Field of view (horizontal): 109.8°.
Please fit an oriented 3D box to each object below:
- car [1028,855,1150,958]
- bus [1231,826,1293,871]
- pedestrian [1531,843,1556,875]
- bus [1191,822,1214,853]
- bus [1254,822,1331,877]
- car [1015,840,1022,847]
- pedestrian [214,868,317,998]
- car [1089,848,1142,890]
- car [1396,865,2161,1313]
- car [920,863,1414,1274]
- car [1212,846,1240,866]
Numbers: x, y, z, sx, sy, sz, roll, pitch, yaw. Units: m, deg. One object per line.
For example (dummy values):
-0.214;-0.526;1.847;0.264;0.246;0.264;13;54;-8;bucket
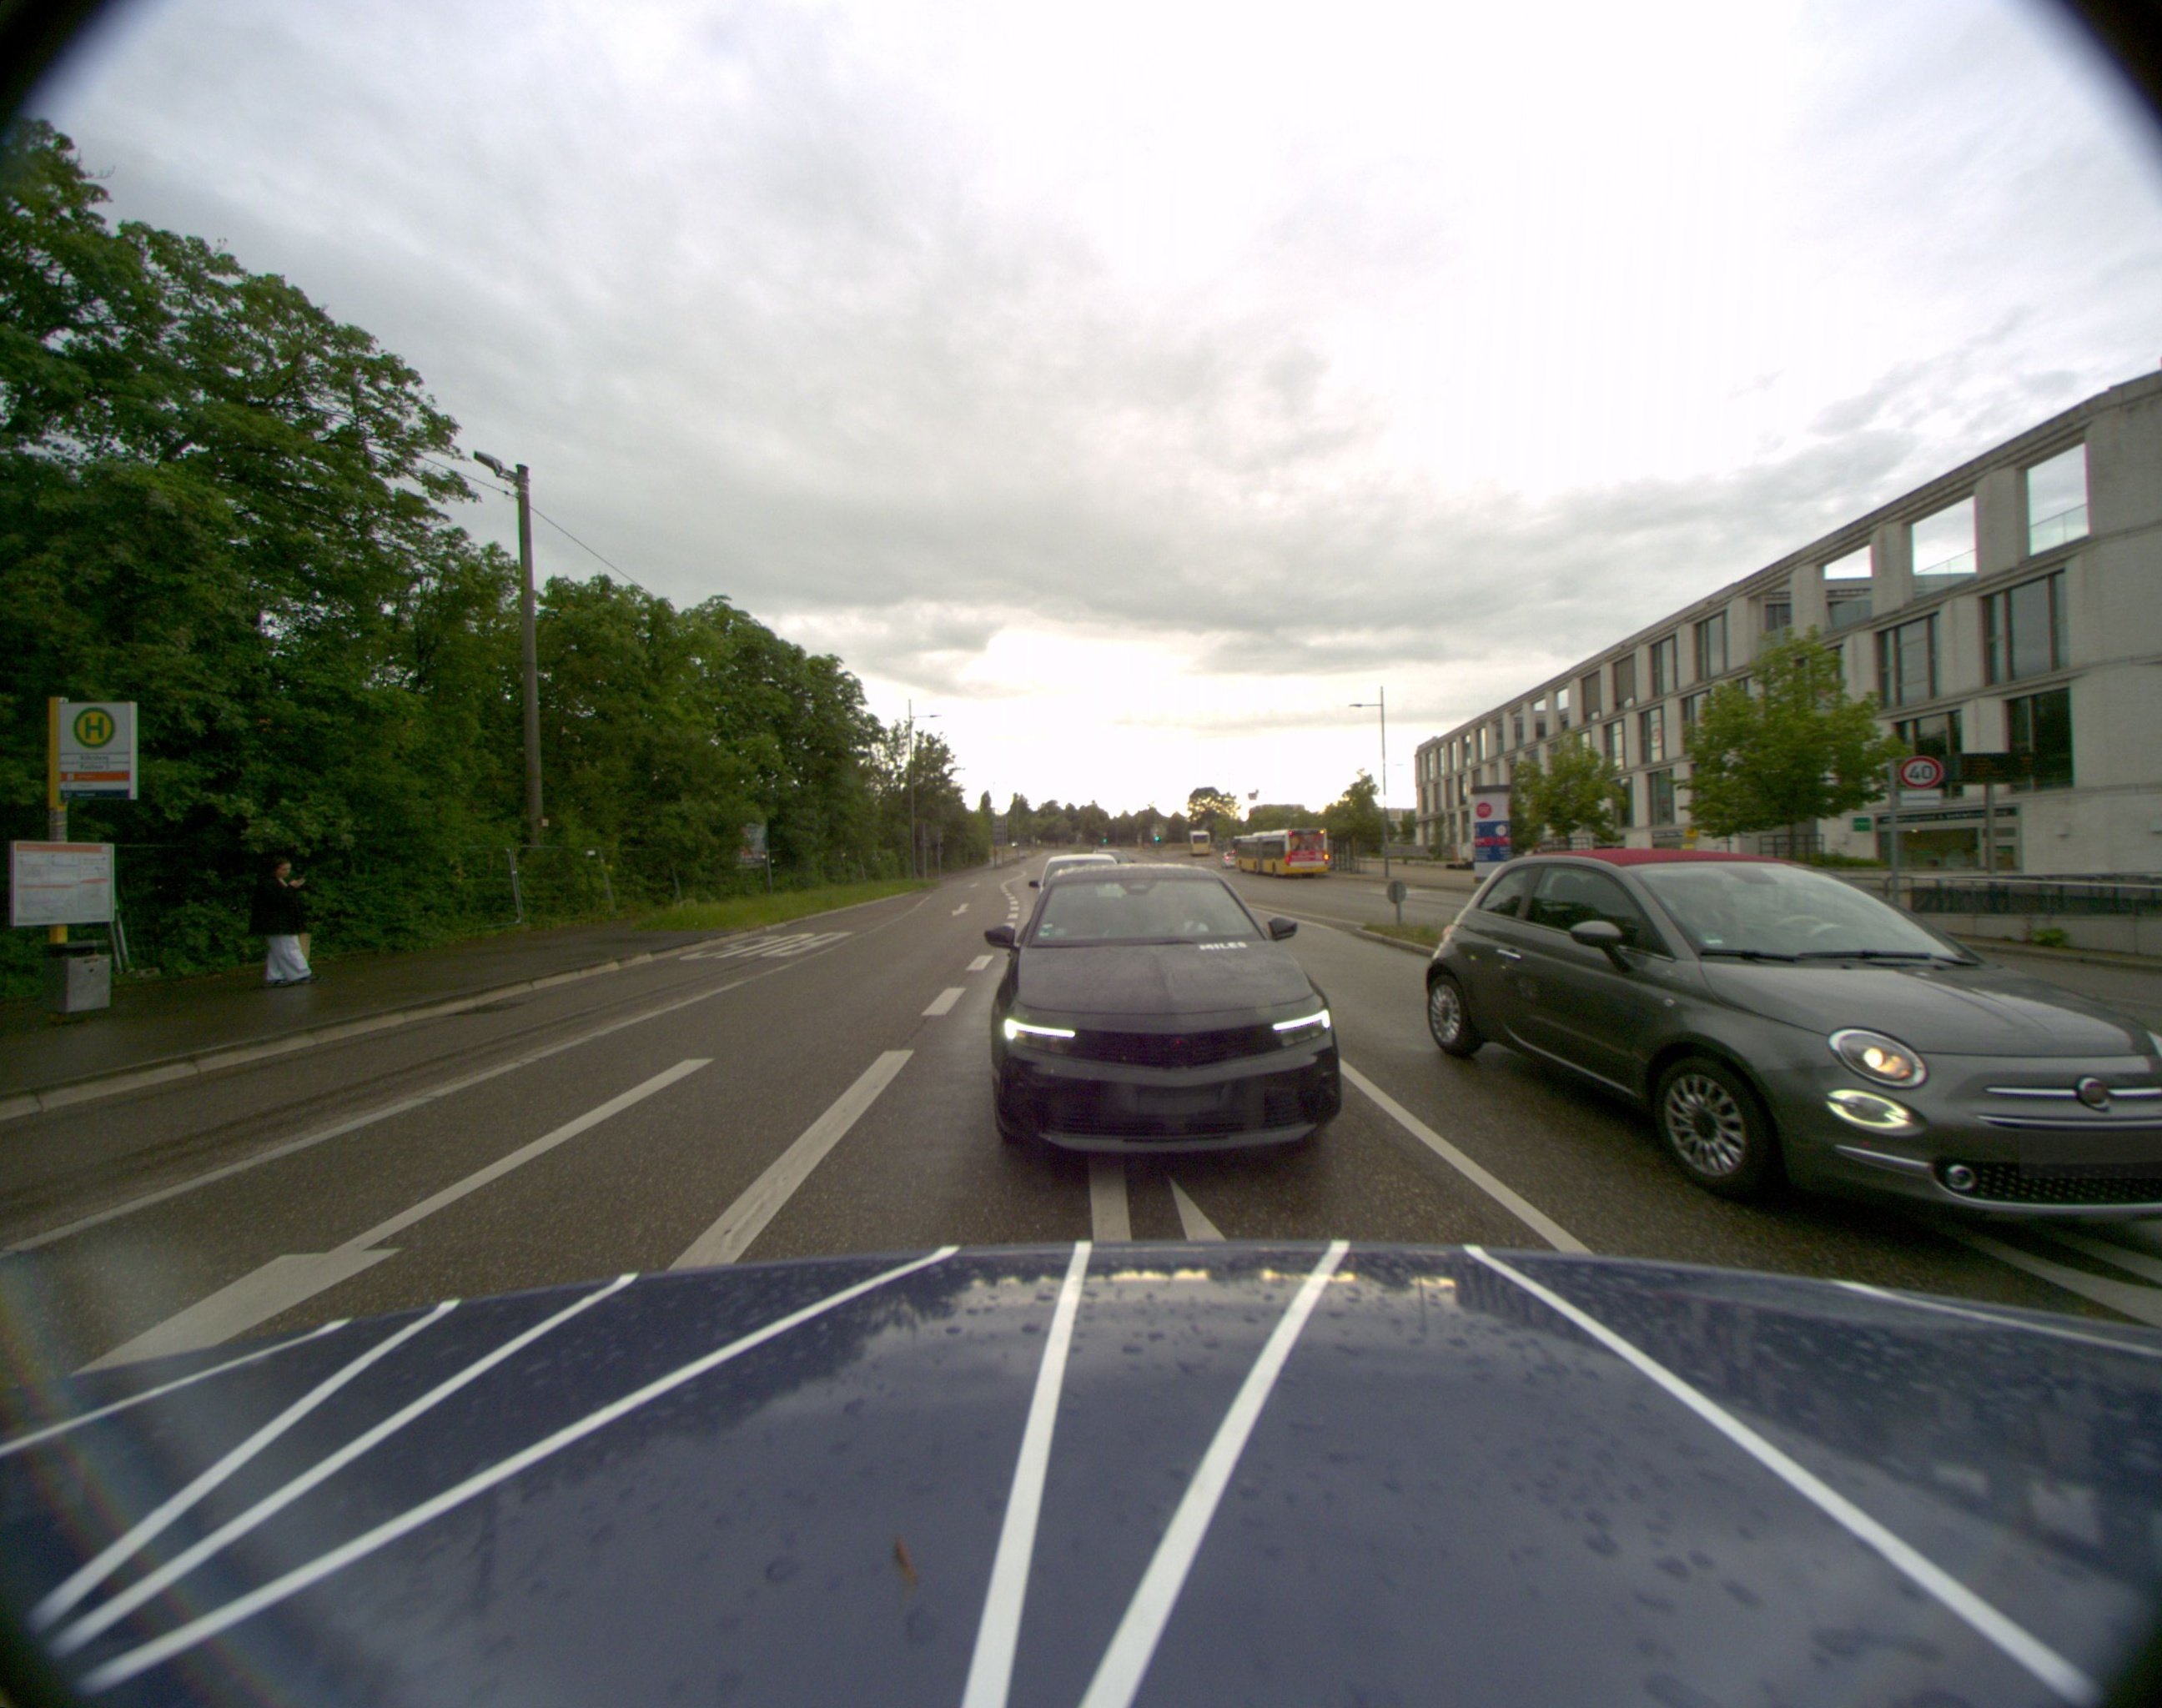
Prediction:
0.120;0.836;14.532;1.901;1.524;4.767;-2;1;0;car
14.105;-0.451;60.044;2.693;3.163;9.912;-2;1;2;bus
23.645;0.239;38.864;0.981;1.572;0.868;-2;1;25;pedestrian
18.428;-2.425;114.242;2.757;4.129;19.359;-2;1;11;bus
13.814;-0.312;50.539;2.759;3.194;9.207;-2;1;2;bus
-19.278;-3.218;234.598;1.807;2.002;4.000;-2;1;1;car
-10.644;1.011;9.938;0.588;1.618;0.661;-1;1;1;pedestrian
1.402;0.591;33.024;1.934;1.649;4.617;-1;0;-2;car
3.431;0.854;4.440;1.631;1.473;3.505;-1;1;-2;car
0.373;0.884;5.389;1.901;1.456;4.767;-2;1;1;car
13.566;0.166;71.135;1.867;1.777;3.999;-2;1;1;car
